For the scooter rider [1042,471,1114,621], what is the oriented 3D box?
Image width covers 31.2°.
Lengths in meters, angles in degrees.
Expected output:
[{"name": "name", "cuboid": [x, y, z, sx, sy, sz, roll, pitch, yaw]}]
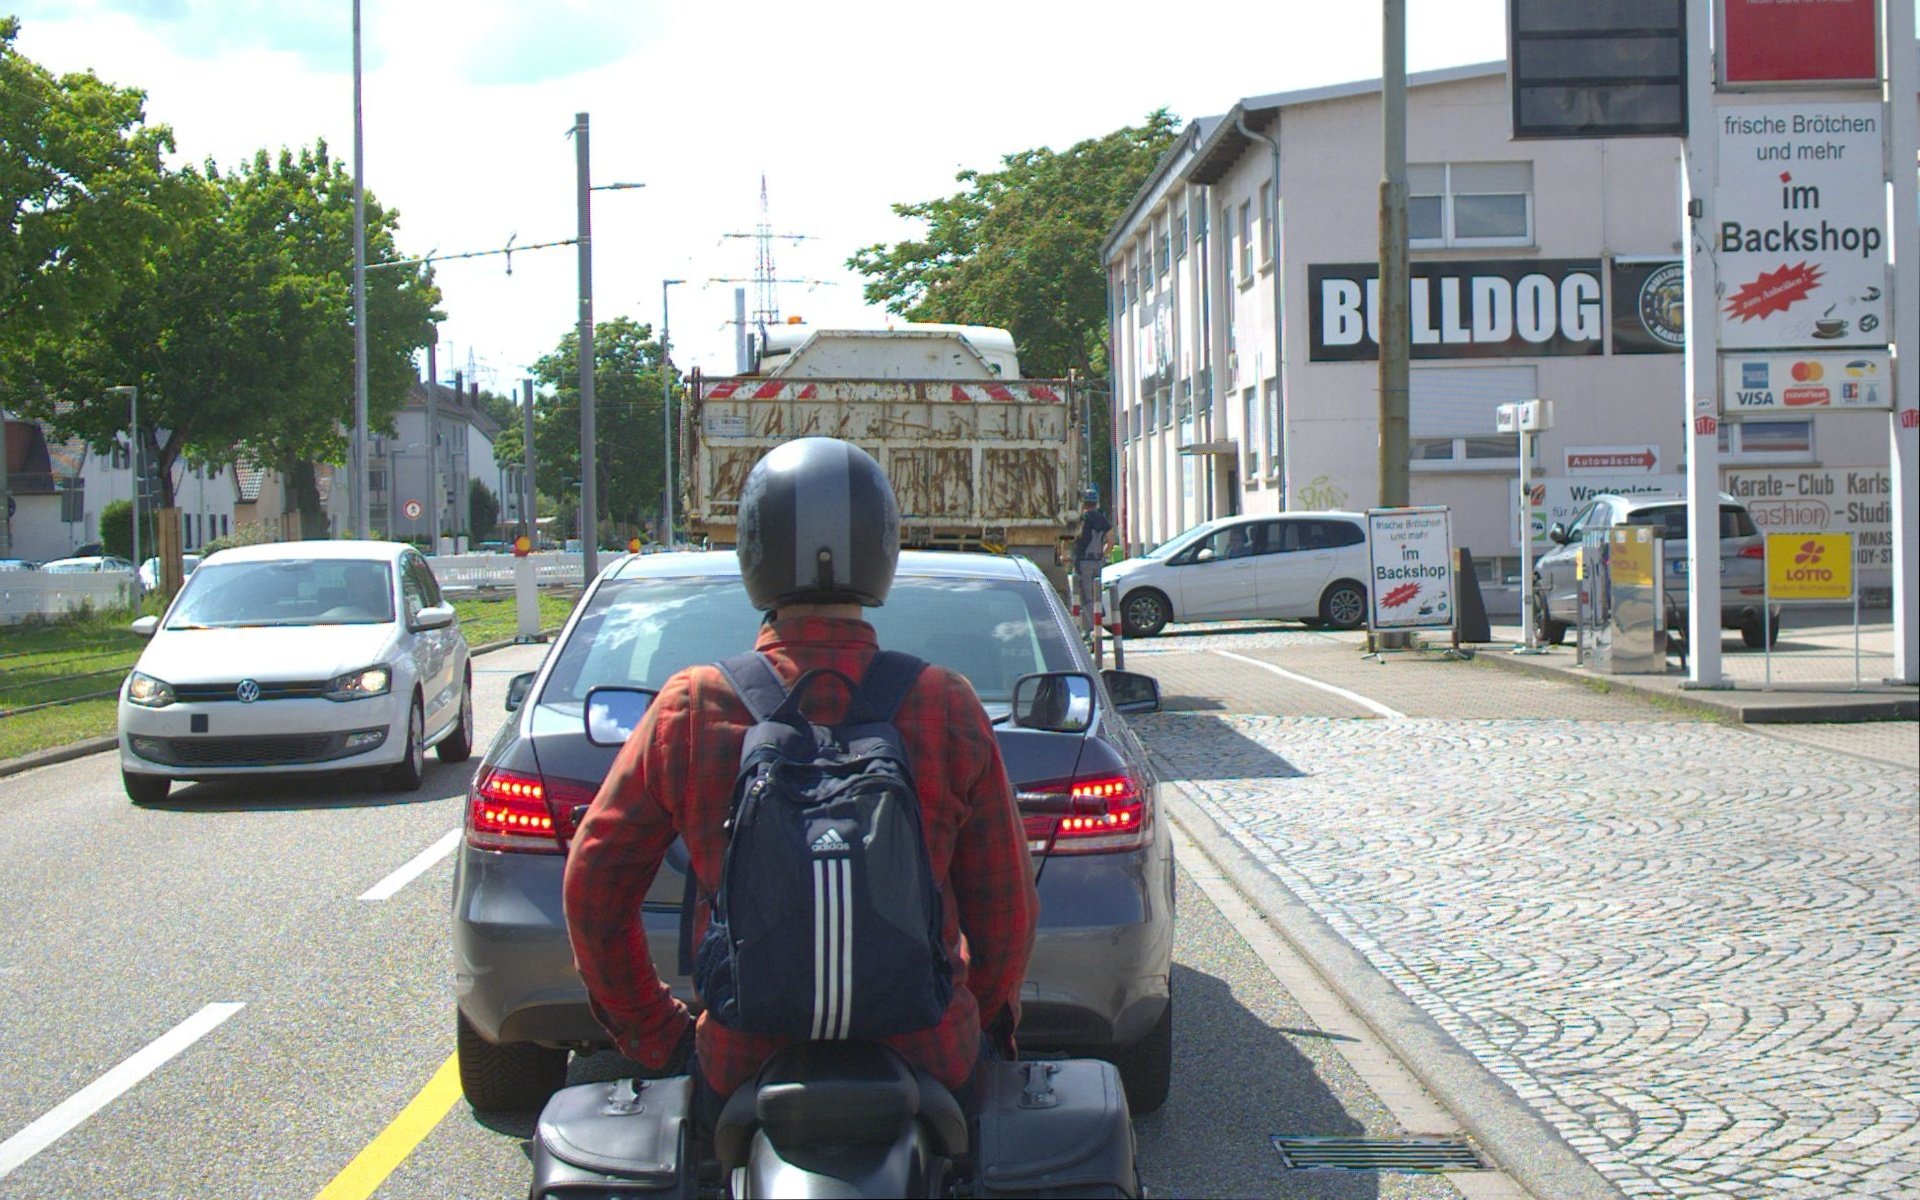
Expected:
[{"name": "scooter rider", "cuboid": [1.445, -0.666, 42.189, 0.795, 1.812, 0.508, -1, 1, -4]}]

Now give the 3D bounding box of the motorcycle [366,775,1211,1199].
[{"name": "motorcycle", "cuboid": [-0.216, 0.863, 5.204, 0.976, 1.010, 2.432, 1, 1, -1]}]

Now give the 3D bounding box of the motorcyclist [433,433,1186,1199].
[{"name": "motorcyclist", "cuboid": [-0.206, 0.588, 5.081, 0.969, 1.627, 1.215, 1, 1, -1]}]

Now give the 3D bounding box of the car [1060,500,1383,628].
[{"name": "car", "cuboid": [3.549, -0.502, 47.028, 4.104, 1.619, 1.686, -1, 1, -8]}]

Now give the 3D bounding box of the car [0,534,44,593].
[{"name": "car", "cuboid": [-29.267, -1.116, 104.585, 1.698, 1.733, 4.062, -1, 1, 0]}]

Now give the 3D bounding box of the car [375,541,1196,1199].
[{"name": "car", "cuboid": [-0.451, 0.599, 9.838, 1.832, 1.474, 4.010, -1, 1, -2]}]

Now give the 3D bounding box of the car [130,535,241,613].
[{"name": "car", "cuboid": [-17.943, -0.624, 79.795, 1.698, 1.733, 3.860, -1, 1, 0]}]

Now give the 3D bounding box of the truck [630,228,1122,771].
[{"name": "truck", "cuboid": [-0.635, -0.716, 25.465, 2.970, 3.293, 8.408, -1, 1, -2]}]

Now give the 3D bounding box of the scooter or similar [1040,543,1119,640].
[{"name": "scooter or similar", "cuboid": [1.458, -0.117, 42.248, 0.795, 1.141, 1.519, -1, 1, -4]}]

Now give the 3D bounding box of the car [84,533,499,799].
[{"name": "car", "cuboid": [-3.947, 0.321, 20.976, 1.715, 1.409, 4.262, -1, 1, -1]}]

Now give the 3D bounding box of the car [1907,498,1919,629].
[{"name": "car", "cuboid": [11.788, -0.401, 37.240, 1.832, 1.474, 4.010, -1, 1, -2]}]

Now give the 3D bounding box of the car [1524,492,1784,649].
[{"name": "car", "cuboid": [7.324, -0.342, 36.642, 1.832, 1.530, 4.010, -1, 1, -2]}]

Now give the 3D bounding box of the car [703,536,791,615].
[{"name": "car", "cuboid": [-4.574, -0.550, 74.149, 1.680, 1.619, 4.119, -1, 1, -1]}]
